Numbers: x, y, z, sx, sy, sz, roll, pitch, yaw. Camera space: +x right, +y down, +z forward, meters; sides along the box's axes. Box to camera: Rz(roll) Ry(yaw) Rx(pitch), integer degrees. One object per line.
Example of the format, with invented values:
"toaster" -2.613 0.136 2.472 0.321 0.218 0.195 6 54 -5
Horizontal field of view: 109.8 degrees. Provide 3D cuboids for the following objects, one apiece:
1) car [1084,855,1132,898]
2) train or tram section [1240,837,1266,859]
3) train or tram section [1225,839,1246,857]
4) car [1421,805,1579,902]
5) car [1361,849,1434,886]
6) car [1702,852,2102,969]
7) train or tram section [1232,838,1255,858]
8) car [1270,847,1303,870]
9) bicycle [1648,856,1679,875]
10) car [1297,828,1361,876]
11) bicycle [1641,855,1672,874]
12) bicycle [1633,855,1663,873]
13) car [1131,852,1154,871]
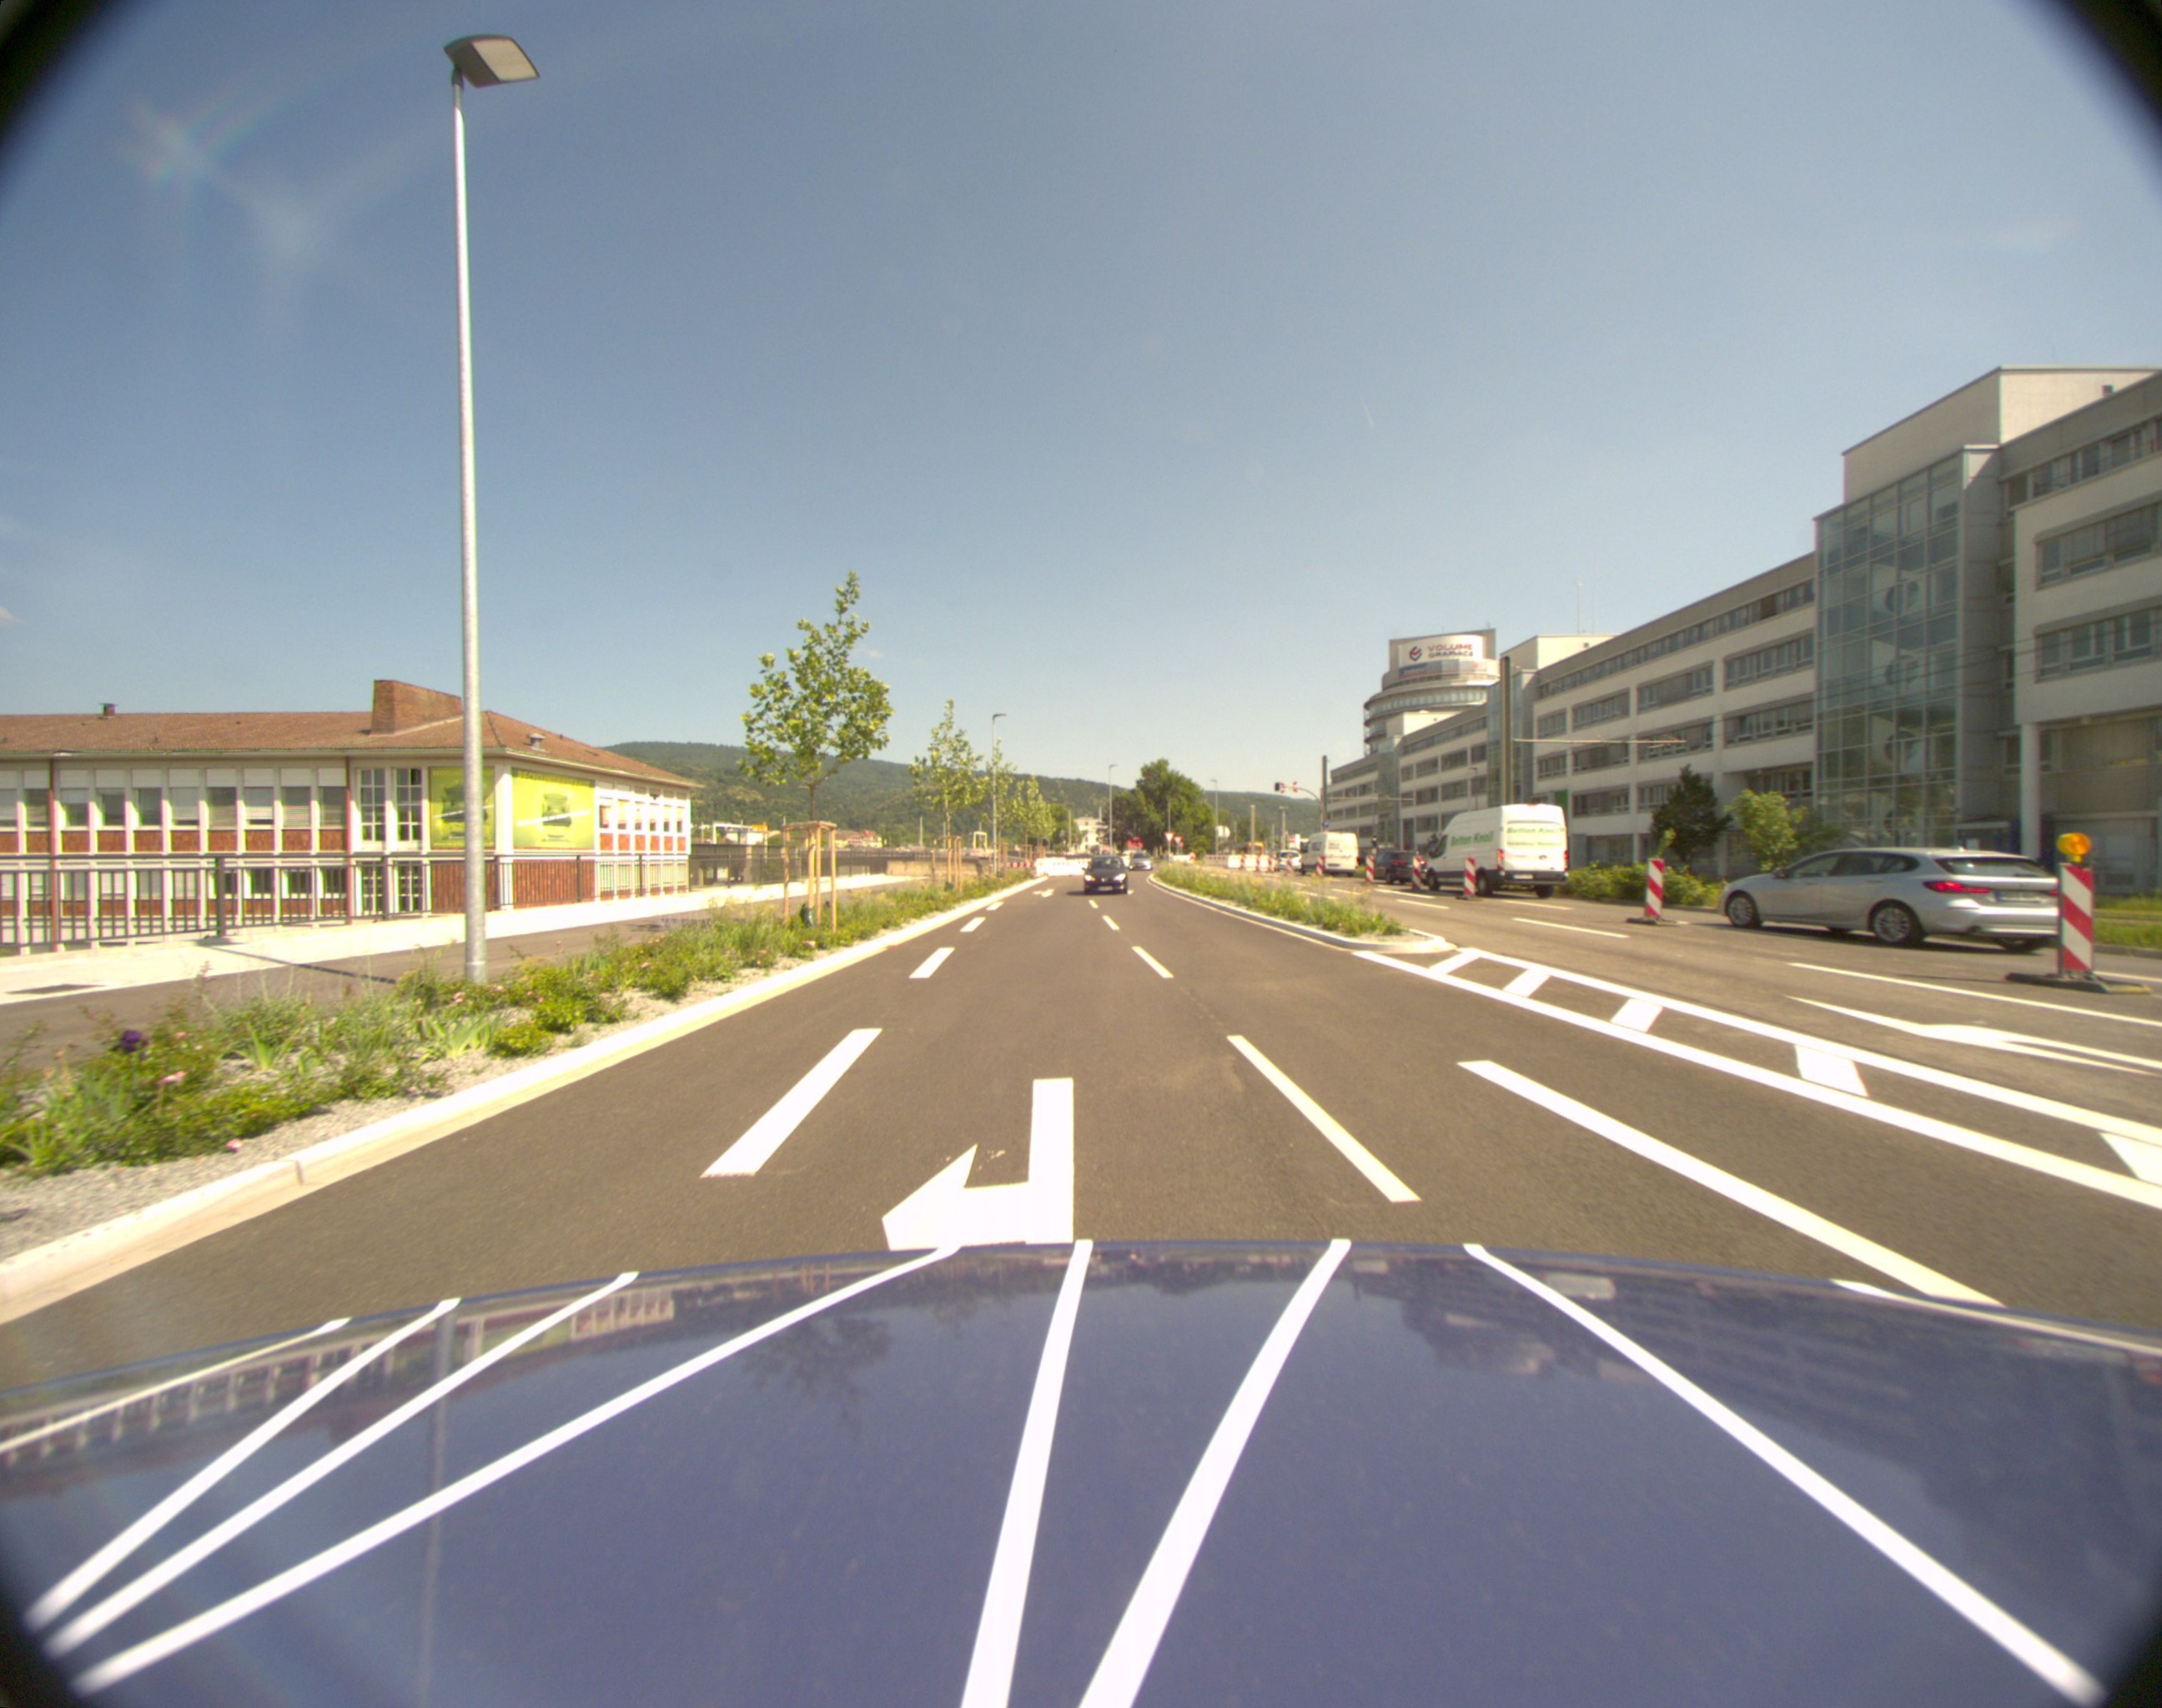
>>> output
"car" 0.964 0.771 27.792 1.618 1.433 3.706 0 1 1
"train or tram section" 29.829 -1.044 132.184 2.630 3.430 11.784 -2 0 4
"train or tram section" 31.500 -1.219 155.698 2.630 3.430 11.784 -2 0 4
"car" 13.318 -0.048 24.723 2.082 2.724 5.987 1 1 3
"car" 13.508 0.530 32.694 1.549 1.448 4.193 2 1 3
"car" 12.422 0.723 12.055 1.677 1.435 4.469 1 1 4
"train or tram section" 30.666 -1.120 143.940 2.630 3.430 11.784 -2 0 4
"car" 14.903 0.318 55.269 1.584 1.532 3.979 2 0 5
"bicycle" 38.450 0.734 50.191 1.650 1.182 0.438 -2 0 3
"car" 14.488 -0.115 44.765 2.035 2.564 6.196 2 0 4
"bicycle" 38.593 0.697 50.943 1.650 1.182 0.438 -2 0 4
"bicycle" 39.058 0.681 52.359 1.650 1.182 0.438 -2 0 8
"car" 4.899 0.553 60.837 1.618 1.433 3.768 0 1 1
